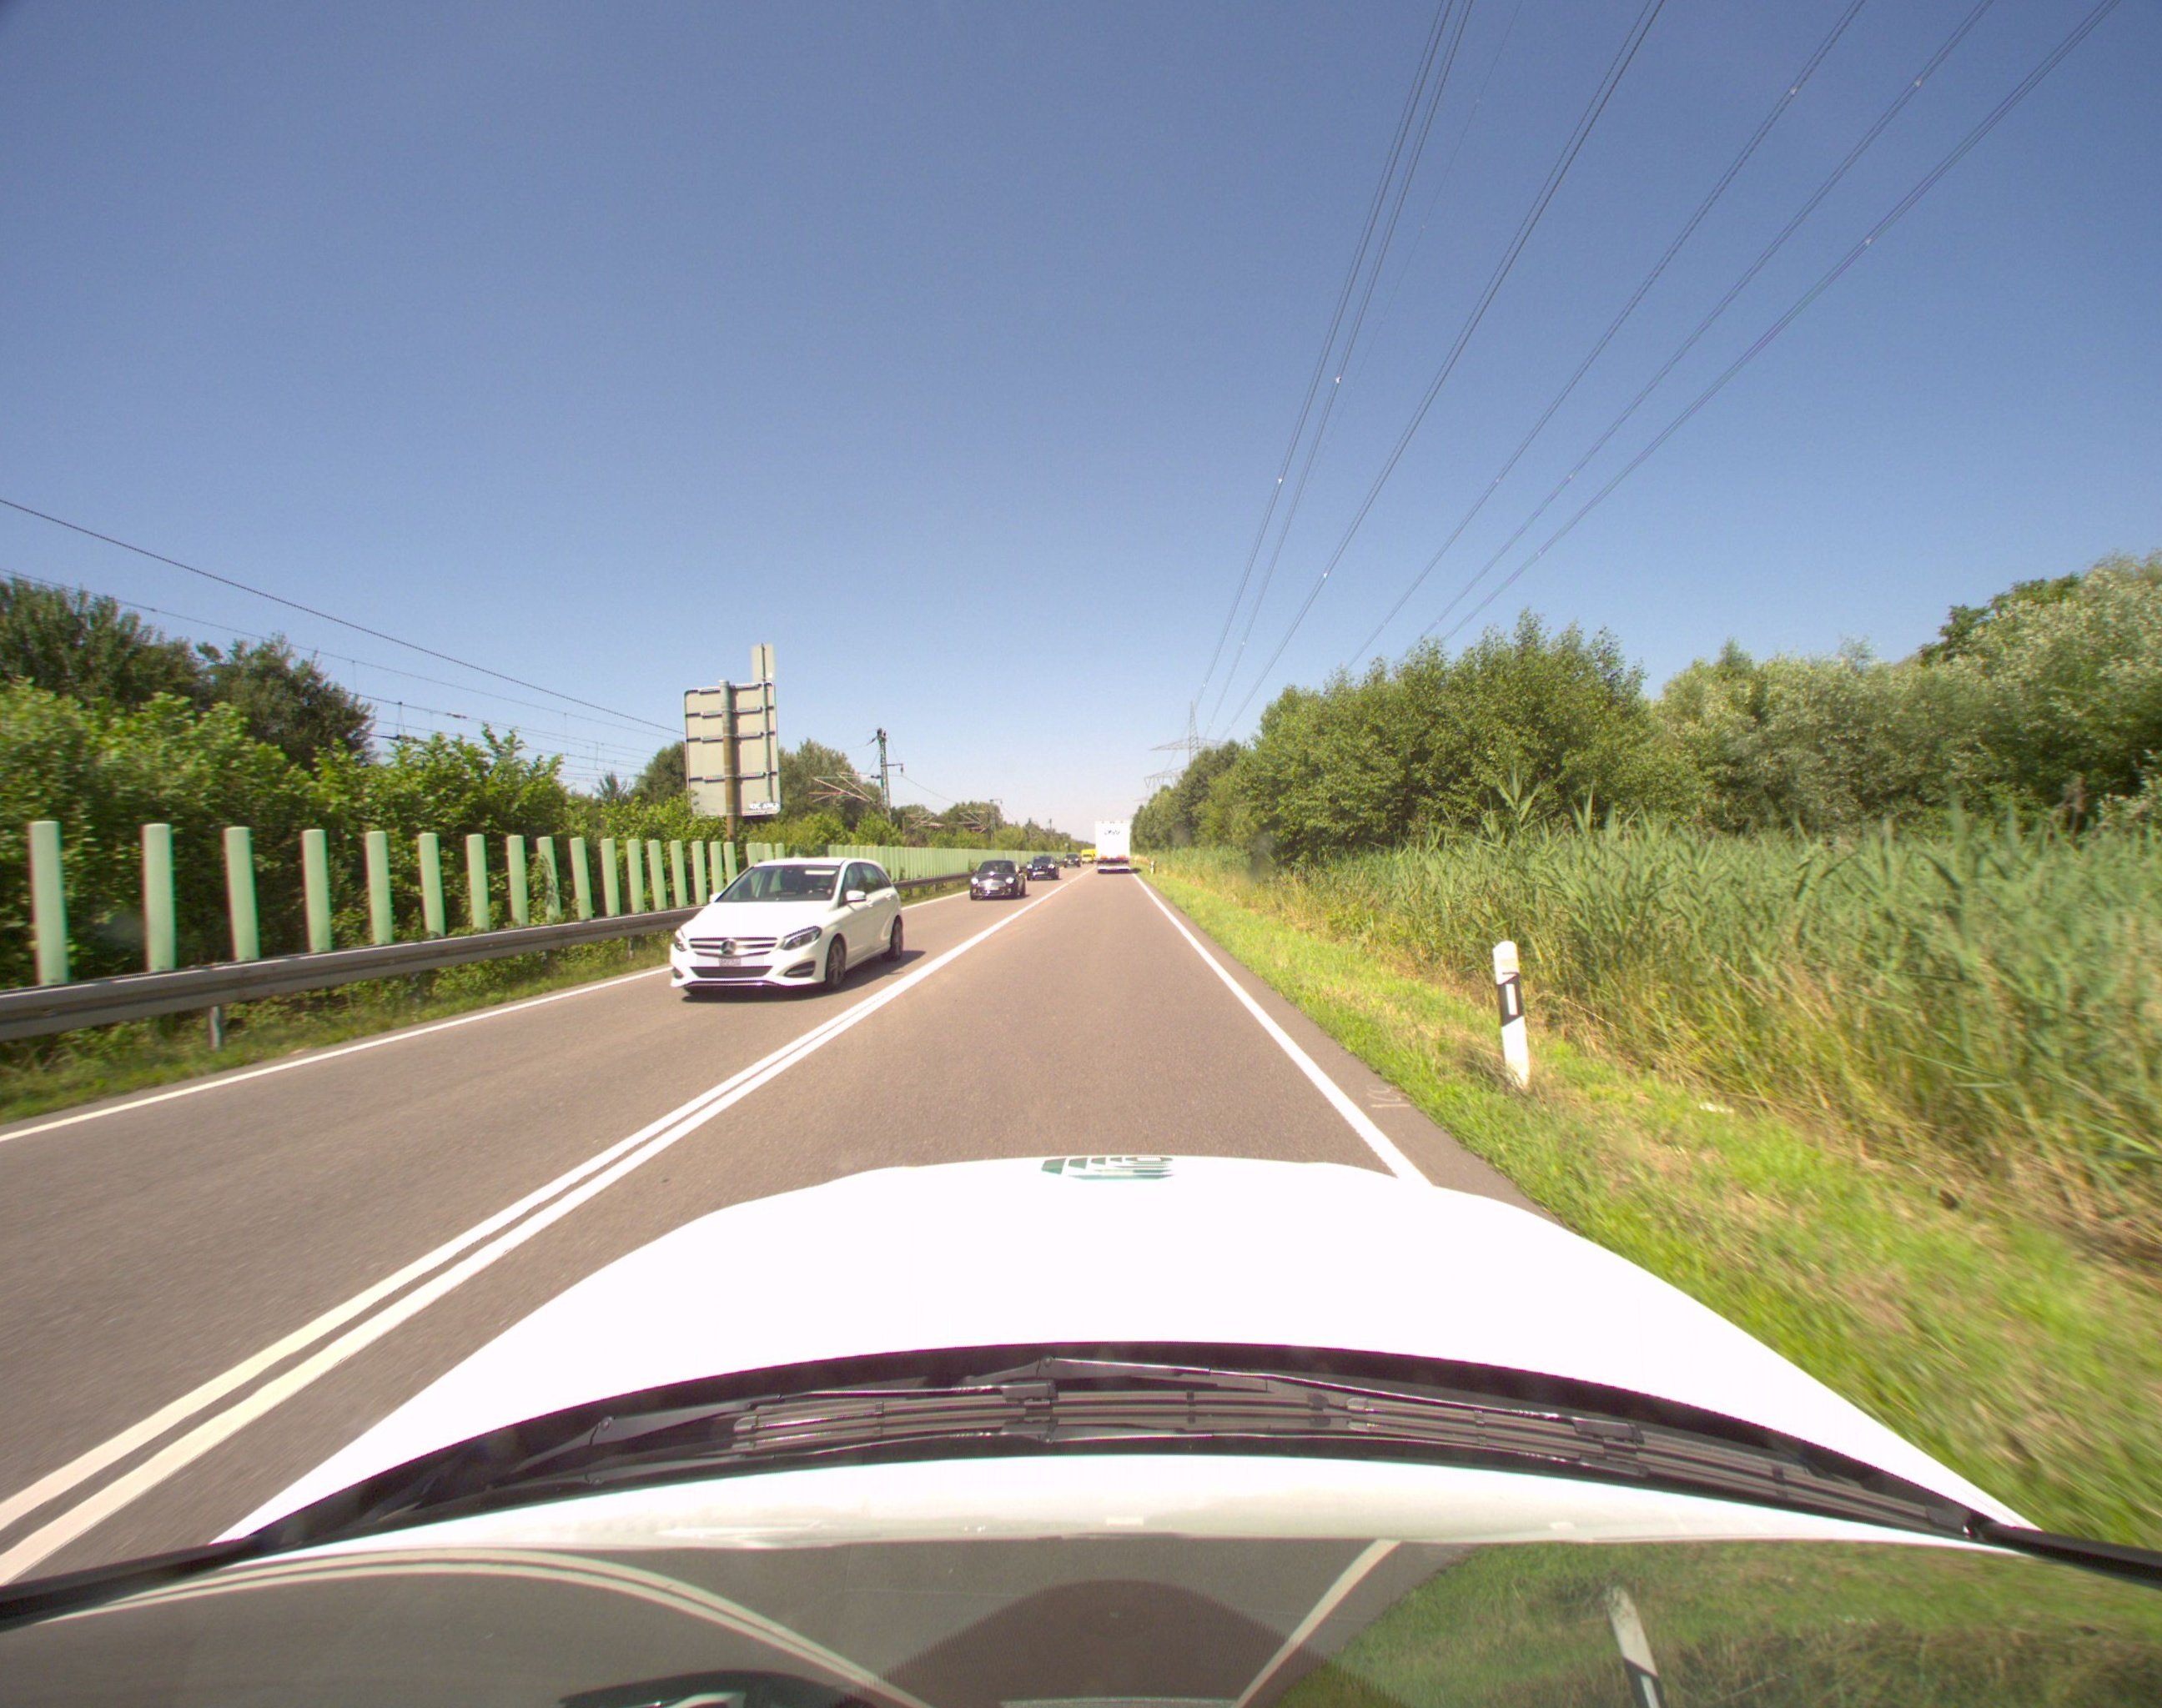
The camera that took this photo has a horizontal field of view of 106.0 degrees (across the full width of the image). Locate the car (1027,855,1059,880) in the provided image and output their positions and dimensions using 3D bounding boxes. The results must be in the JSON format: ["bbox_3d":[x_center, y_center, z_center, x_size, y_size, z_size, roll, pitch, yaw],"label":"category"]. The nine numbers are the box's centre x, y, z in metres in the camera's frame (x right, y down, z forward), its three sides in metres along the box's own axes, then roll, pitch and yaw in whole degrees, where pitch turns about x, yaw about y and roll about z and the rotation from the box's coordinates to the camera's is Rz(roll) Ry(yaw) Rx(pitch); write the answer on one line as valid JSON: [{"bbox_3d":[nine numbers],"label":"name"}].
[{"bbox_3d":[-2.358,0.817,51.200,1.666,1.515,4.291,-1,0,2],"label":"car"}]

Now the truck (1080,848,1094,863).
[{"bbox_3d":[0.995,0.268,131.838,1.985,2.348,6.016,-1,0,3],"label":"truck"}]

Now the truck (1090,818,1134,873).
[{"bbox_3d":[2.570,-0.619,67.117,3.180,4.042,12.012,-2,0,2],"label":"truck"}]

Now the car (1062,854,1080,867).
[{"bbox_3d":[-1.163,0.764,97.558,1.794,1.587,4.373,-1,0,3],"label":"car"}]

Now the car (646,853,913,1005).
[{"bbox_3d":[-3.706,0.810,10.954,1.818,1.605,4.325,-1,0,2],"label":"car"}]

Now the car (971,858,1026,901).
[{"bbox_3d":[-3.002,0.910,30.258,1.500,1.435,3.745,-1,0,3],"label":"car"}]
